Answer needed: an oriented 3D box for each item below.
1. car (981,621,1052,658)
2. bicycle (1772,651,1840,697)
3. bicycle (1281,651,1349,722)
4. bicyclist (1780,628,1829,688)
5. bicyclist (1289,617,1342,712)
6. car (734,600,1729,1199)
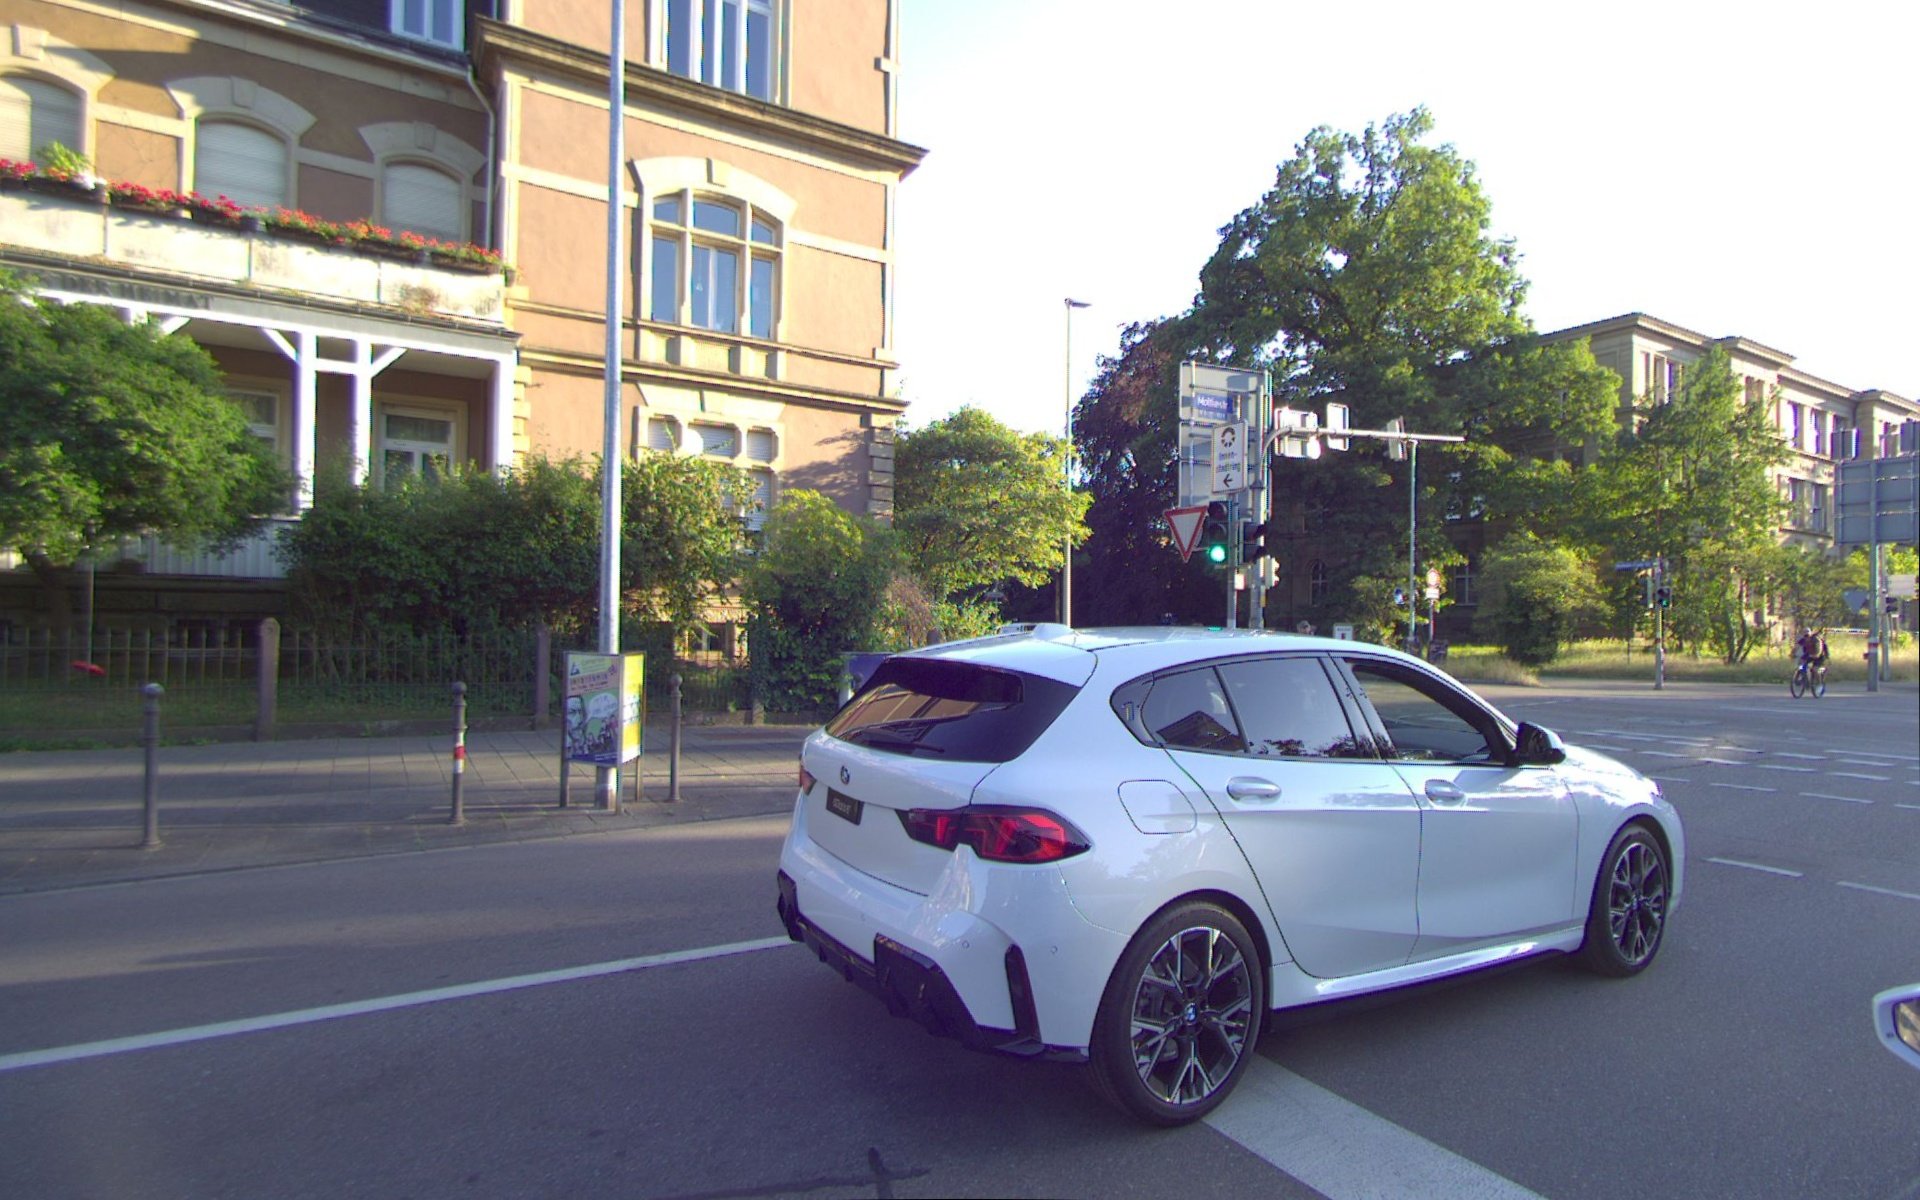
[{"bbox_3d":[2.987,2.107,54.162,1.841,1.870,4.087,2,-2,-31],"label":"car"},{"bbox_3d":[21.924,1.907,26.013,2.143,1.138,0.683,2,-2,-31],"label":"bicycle"},{"bbox_3d":[6.447,1.548,18.331,0.647,1.104,1.904,2,0,4],"label":"bicycle"},{"bbox_3d":[21.823,1.487,25.958,0.944,1.532,0.680,2,-2,-30],"label":"bicyclist"},{"bbox_3d":[6.453,1.152,18.267,0.640,1.654,0.915,2,0,4],"label":"bicyclist"},{"bbox_3d":[1.331,0.816,4.279,4.142,1.485,1.743,2,-2,-32],"label":"car"}]
